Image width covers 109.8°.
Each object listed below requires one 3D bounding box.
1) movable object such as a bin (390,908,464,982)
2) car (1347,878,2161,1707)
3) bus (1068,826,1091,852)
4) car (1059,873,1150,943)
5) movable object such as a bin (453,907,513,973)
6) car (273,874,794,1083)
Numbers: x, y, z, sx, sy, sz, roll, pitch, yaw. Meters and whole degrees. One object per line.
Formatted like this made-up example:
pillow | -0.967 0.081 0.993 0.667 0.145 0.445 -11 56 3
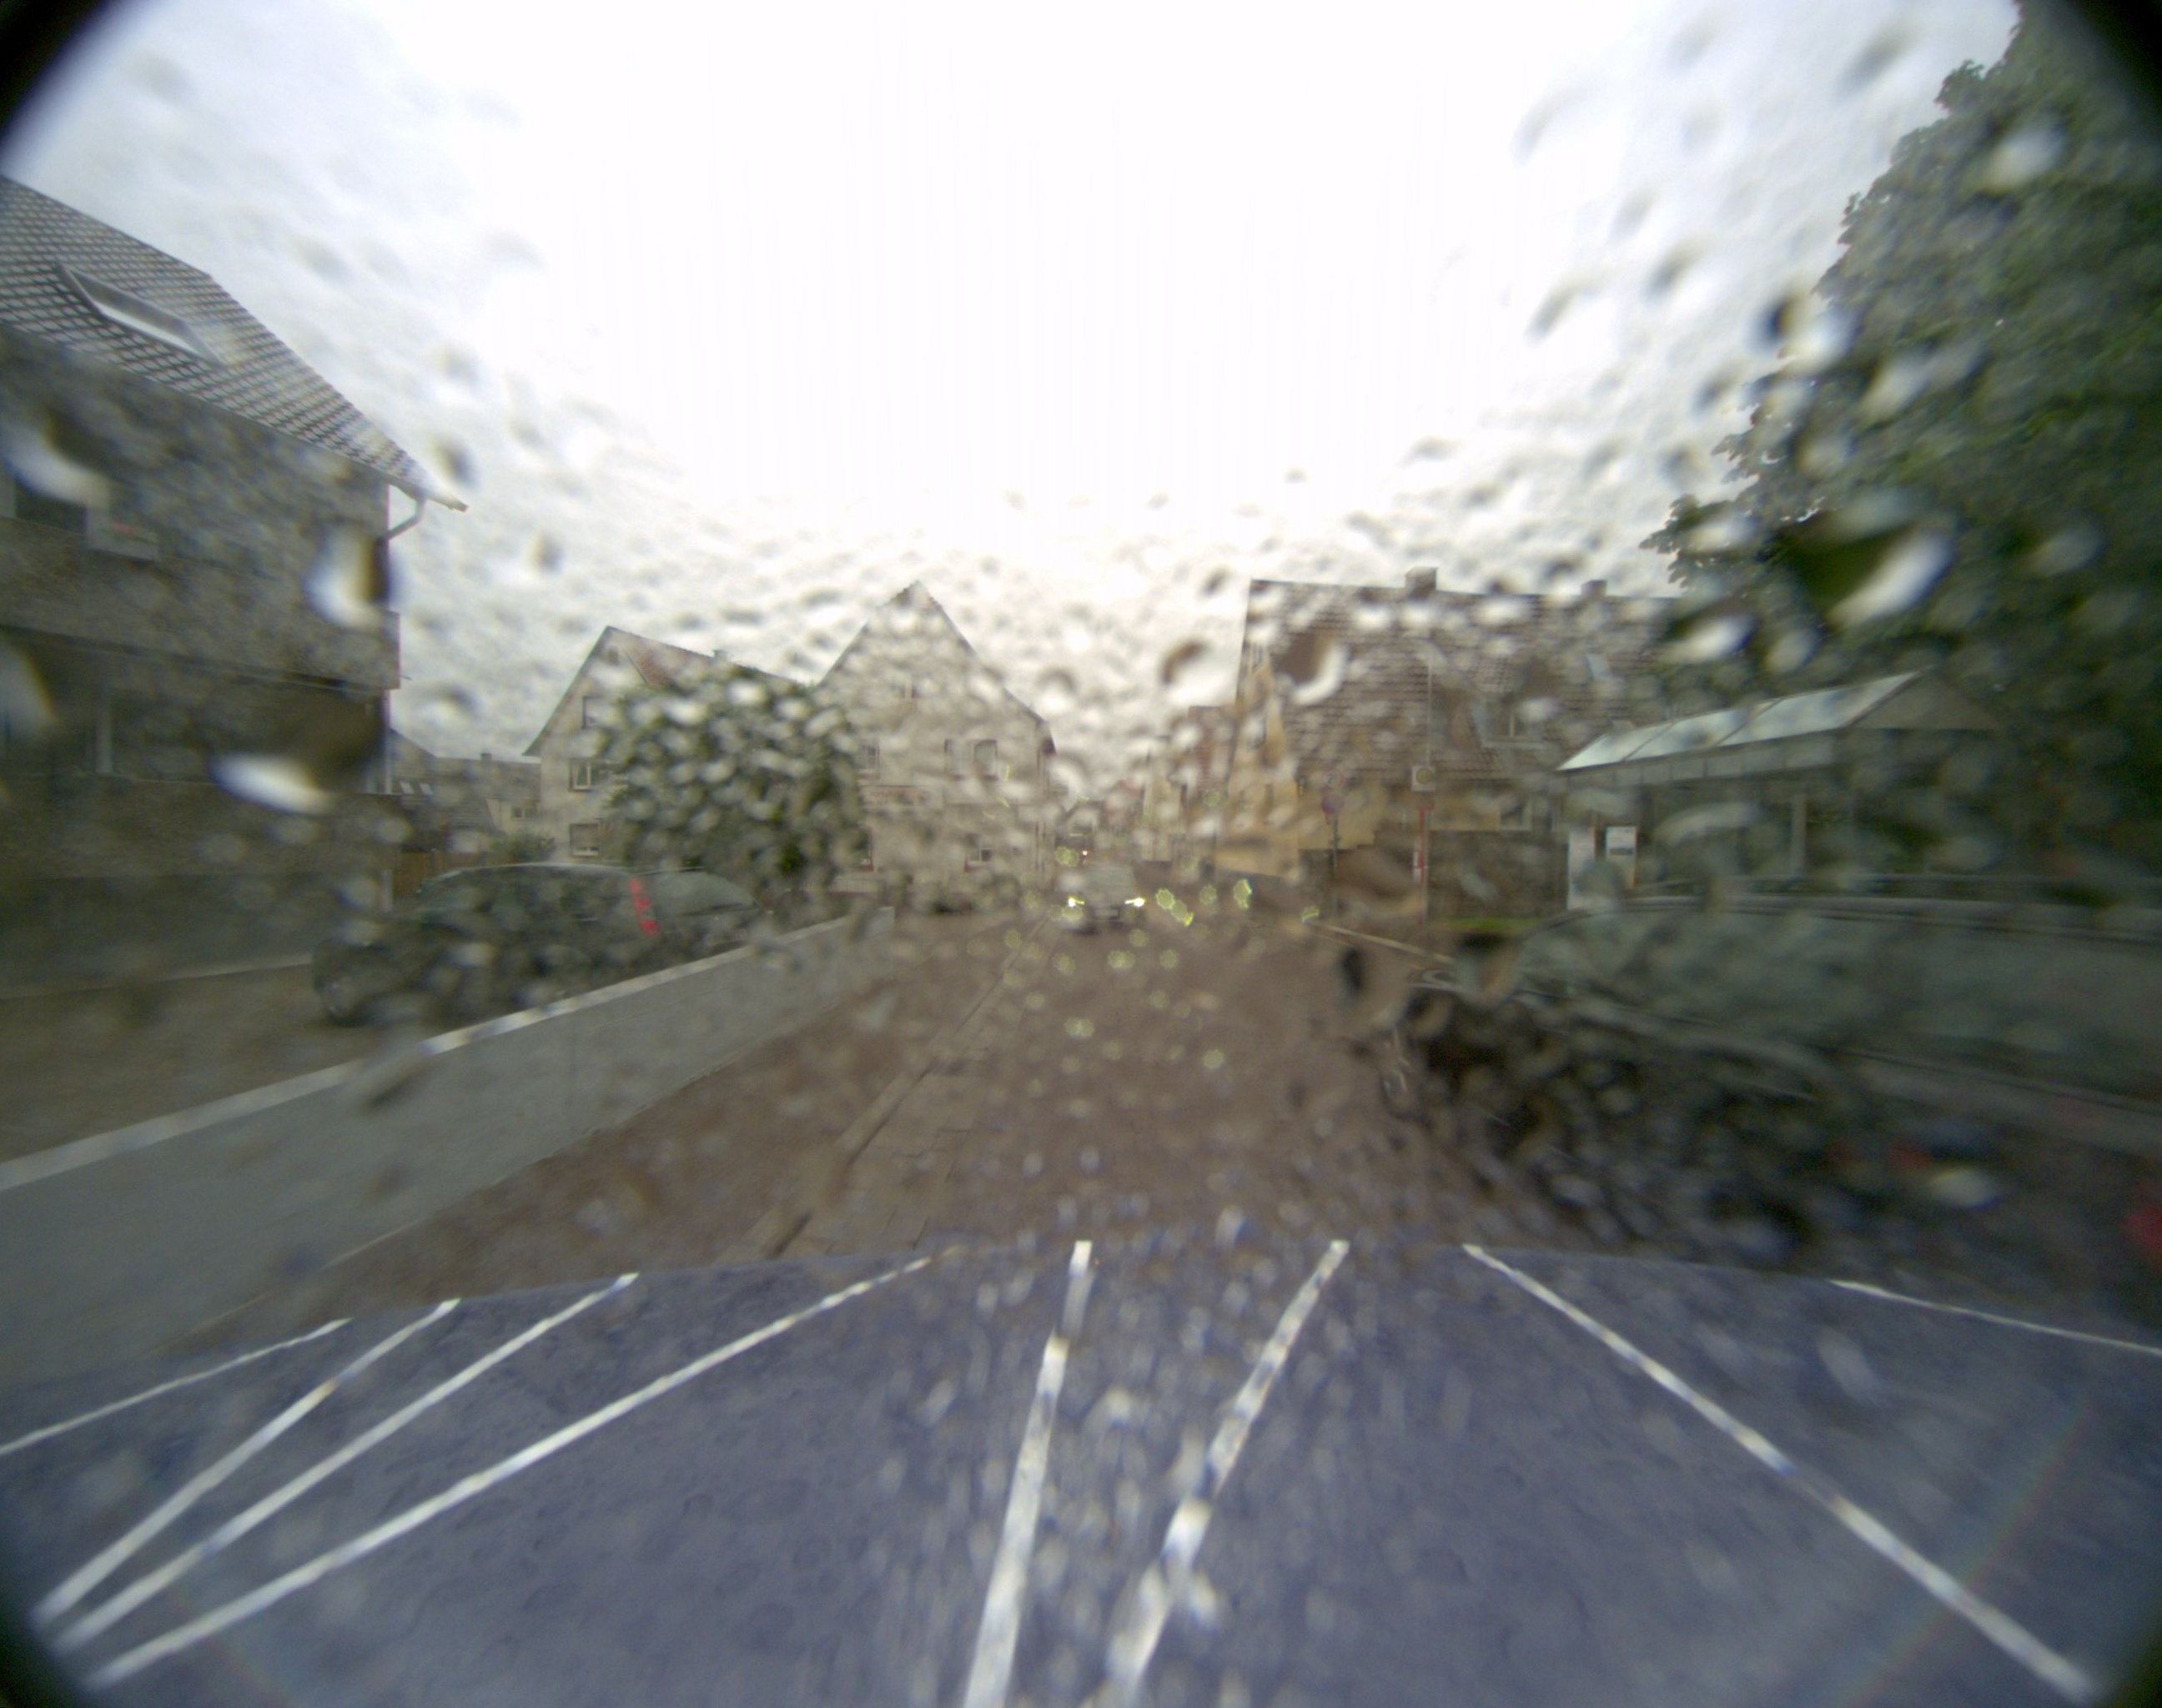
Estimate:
movable object such as a bin | -10.753 1.477 12.505 0.624 1.112 0.692 -1 1 23
car | 2.794 0.898 2.773 1.849 1.468 4.312 1 0 -4
bus | -0.309 -2.225 110.170 2.893 3.590 11.974 0 2 -2
car | 0.548 1.129 17.064 1.800 1.341 3.739 -1 -1 2
movable object such as a bin | -10.301 1.468 13.097 0.624 1.060 0.571 -1 1 28
car | -5.049 0.977 7.114 4.233 1.472 1.697 0 1 17
